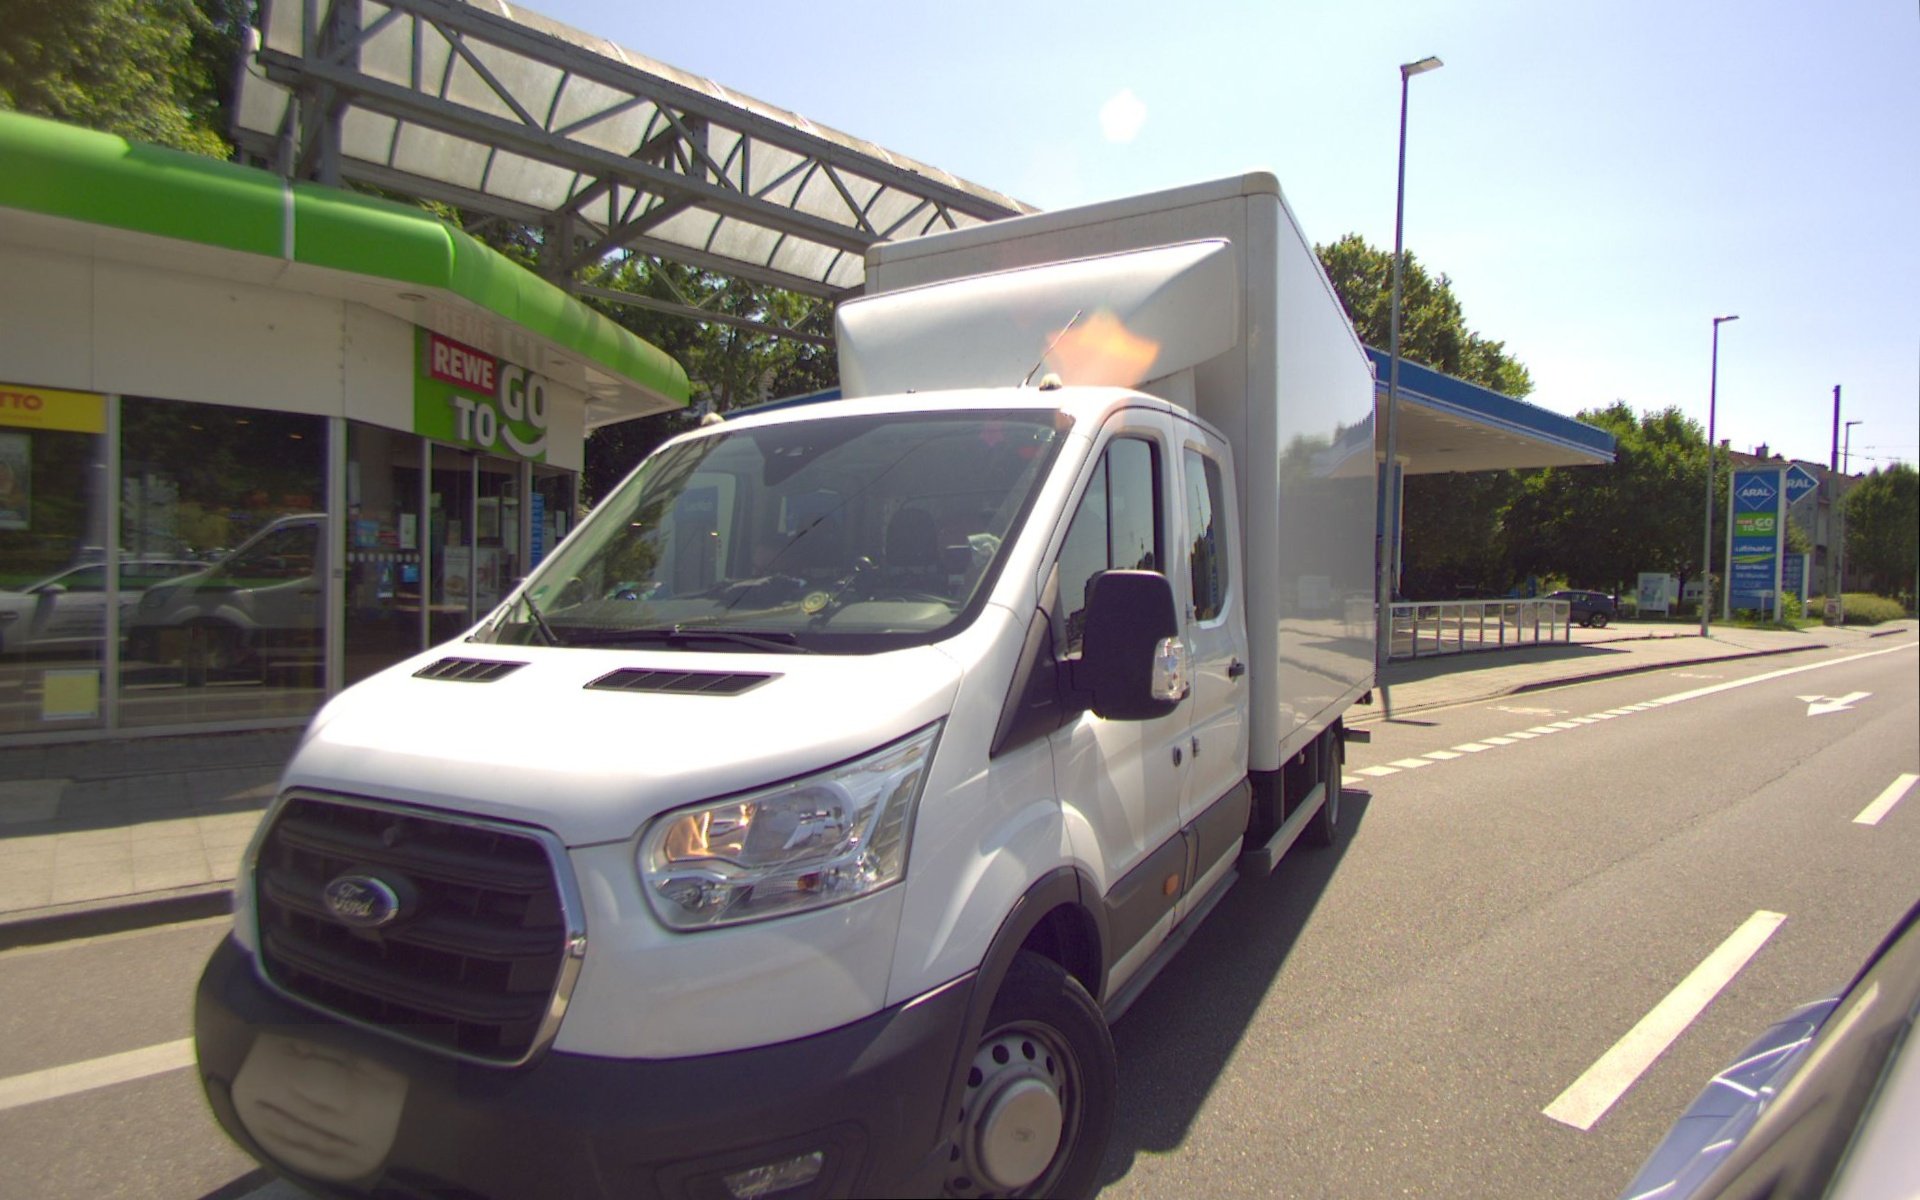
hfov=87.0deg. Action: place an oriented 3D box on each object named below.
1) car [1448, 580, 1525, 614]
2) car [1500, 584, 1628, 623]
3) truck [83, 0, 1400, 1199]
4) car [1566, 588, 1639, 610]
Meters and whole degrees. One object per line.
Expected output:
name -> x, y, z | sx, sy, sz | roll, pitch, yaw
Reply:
car -> 28.546, -0.207, 54.796 | 4.329, 1.683, 2.000 | -1, 2, -37
car -> 24.411, 0.107, 41.059 | 4.082, 1.439, 1.711 | 2, 1, 15
truck -> 0.656, -0.317, 5.406 | 2.406, 3.433, 7.756 | 2, 1, 28
car -> 48.402, -0.066, 76.318 | 1.961, 1.540, 4.229 | 0, 1, -33
